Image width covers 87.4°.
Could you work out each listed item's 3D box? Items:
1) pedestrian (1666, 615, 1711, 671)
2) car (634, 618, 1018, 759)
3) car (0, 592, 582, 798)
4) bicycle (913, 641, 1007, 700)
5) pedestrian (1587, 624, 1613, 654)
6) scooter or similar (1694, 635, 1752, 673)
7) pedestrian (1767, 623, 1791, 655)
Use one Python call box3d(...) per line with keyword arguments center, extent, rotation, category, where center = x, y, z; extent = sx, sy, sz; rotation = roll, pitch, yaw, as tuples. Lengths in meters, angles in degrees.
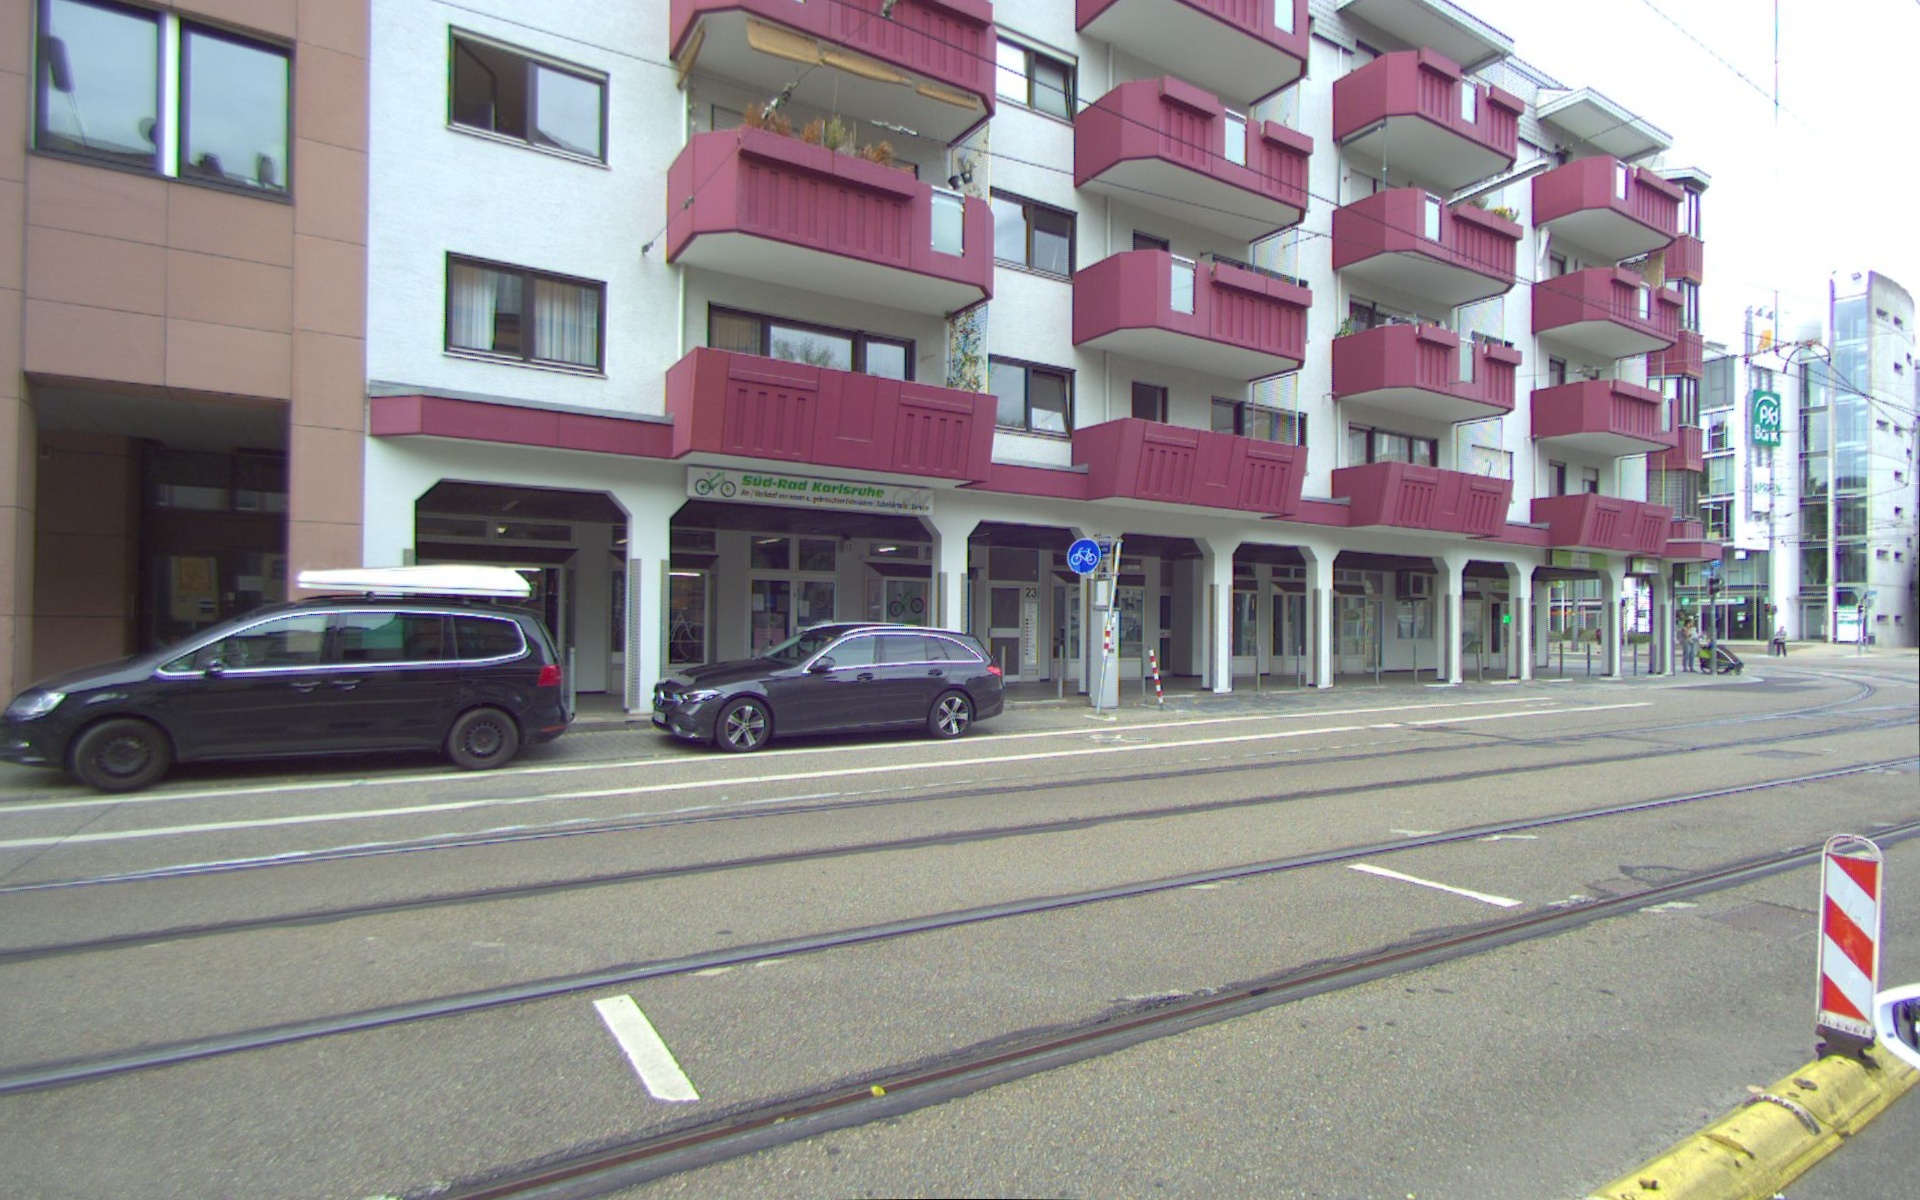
box3d(center=(23.390, 1.358, 32.266), extent=(0.803, 1.766, 0.942), rotation=(1, -1, -33), category="pedestrian")
box3d(center=(-1.651, 1.030, 13.047), extent=(4.645, 1.500, 1.745), rotation=(1, 1, -32), category="car")
box3d(center=(-6.473, 0.819, 10.236), extent=(4.645, 1.669, 1.797), rotation=(1, 1, -32), category="car")
box3d(center=(0.015, 1.196, 17.335), extent=(1.636, 0.966, 0.560), rotation=(1, -1, -39), category="bicycle")
box3d(center=(35.507, 2.159, 55.745), extent=(0.753, 1.693, 0.935), rotation=(1, -1, -17), category="pedestrian")
box3d(center=(23.906, 1.677, 31.480), extent=(0.936, 1.143, 1.189), rotation=(1, 0, -32), category="scooter or similar")
box3d(center=(49.543, 2.351, 60.760), extent=(0.754, 1.889, 0.833), rotation=(1, -1, -17), category="pedestrian")
